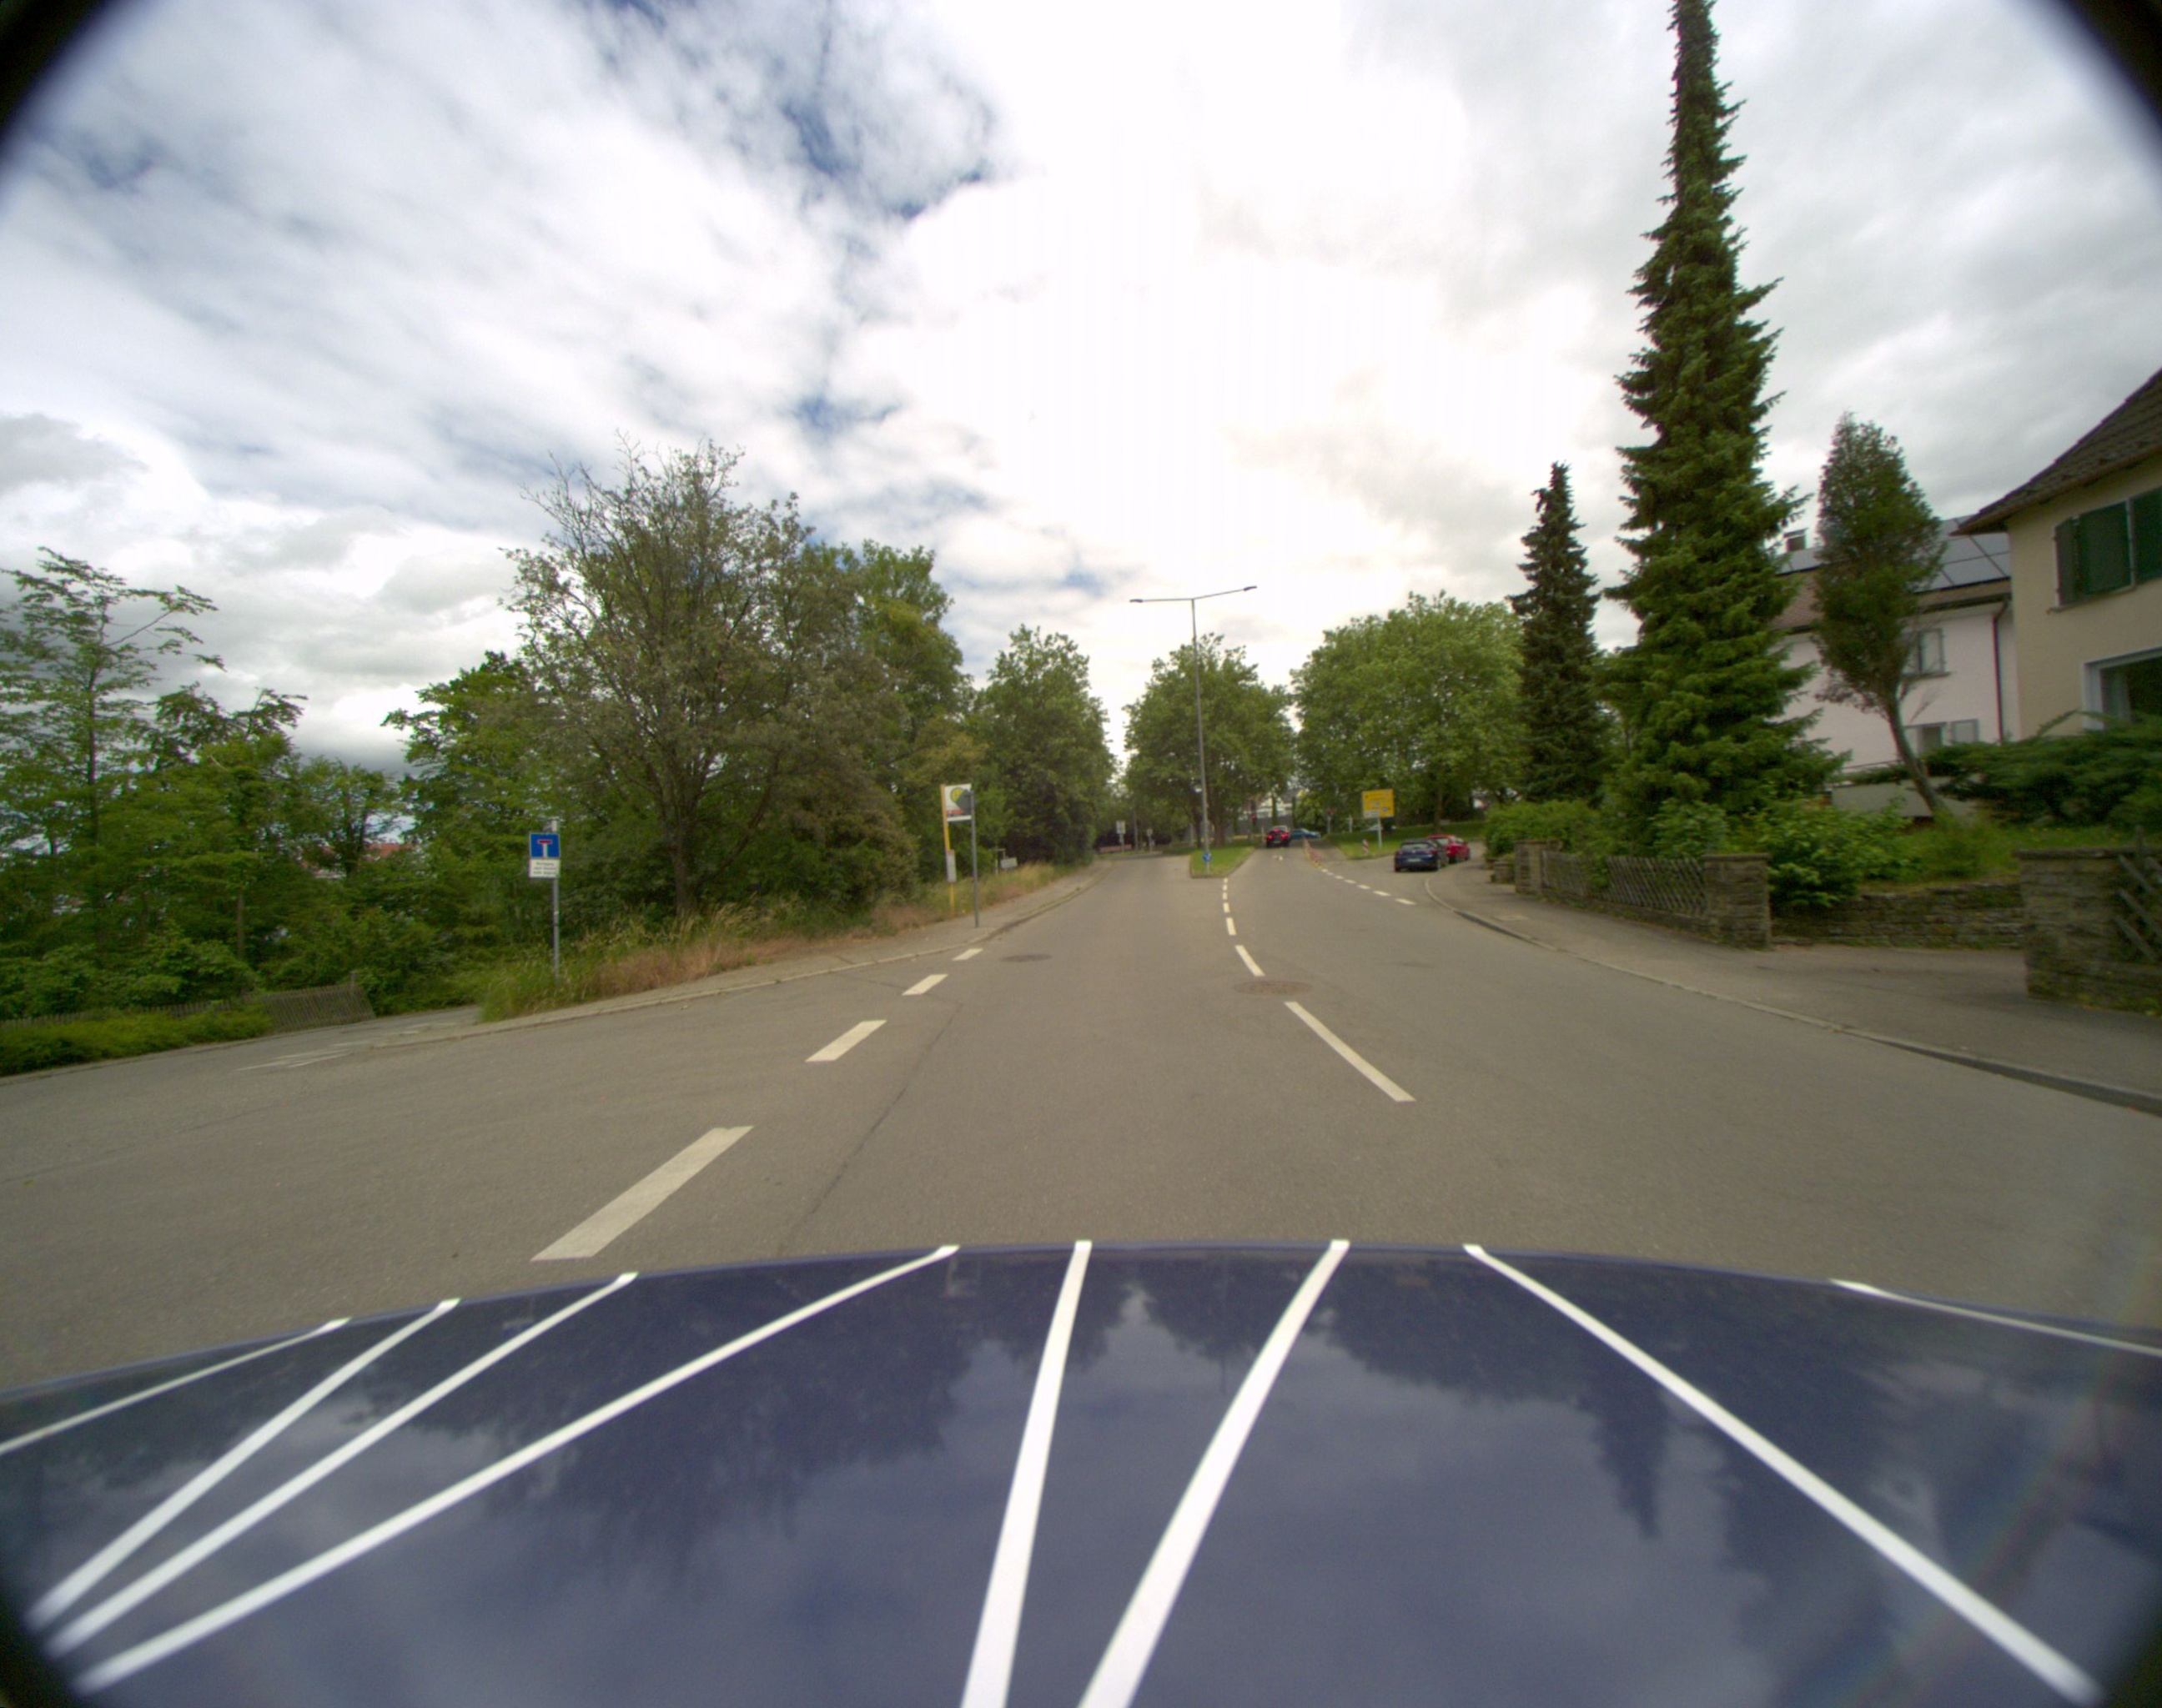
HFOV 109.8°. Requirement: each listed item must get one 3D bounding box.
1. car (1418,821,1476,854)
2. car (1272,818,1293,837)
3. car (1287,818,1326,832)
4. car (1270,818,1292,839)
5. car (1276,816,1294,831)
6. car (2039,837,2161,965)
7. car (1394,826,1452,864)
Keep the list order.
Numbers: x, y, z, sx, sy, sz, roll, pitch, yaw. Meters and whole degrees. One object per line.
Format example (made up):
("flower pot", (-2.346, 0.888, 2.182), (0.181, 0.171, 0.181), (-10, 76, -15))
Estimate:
("car", (18.558, -0.851, 38.476), (1.728, 1.465, 4.286), (-2, 2, 38))
("car", (20.707, -2.675, 78.002), (1.854, 1.648, 4.913), (-4, -1, 16))
("car", (28.036, -3.591, 94.530), (1.801, 1.420, 4.137), (0, -4, -44))
("car", (18.009, -2.342, 68.350), (1.759, 1.583, 4.616), (-4, 3, 16))
("car", (22.541, -3.357, 83.743), (1.759, 1.509, 4.390), (-4, 1, 16))
("car", (13.729, 0.535, 8.402), (3.558, 1.411, 1.831), (0, 0, 11))
("car", (15.485, -0.451, 34.287), (1.728, 1.465, 4.322), (-3, 1, 33))
